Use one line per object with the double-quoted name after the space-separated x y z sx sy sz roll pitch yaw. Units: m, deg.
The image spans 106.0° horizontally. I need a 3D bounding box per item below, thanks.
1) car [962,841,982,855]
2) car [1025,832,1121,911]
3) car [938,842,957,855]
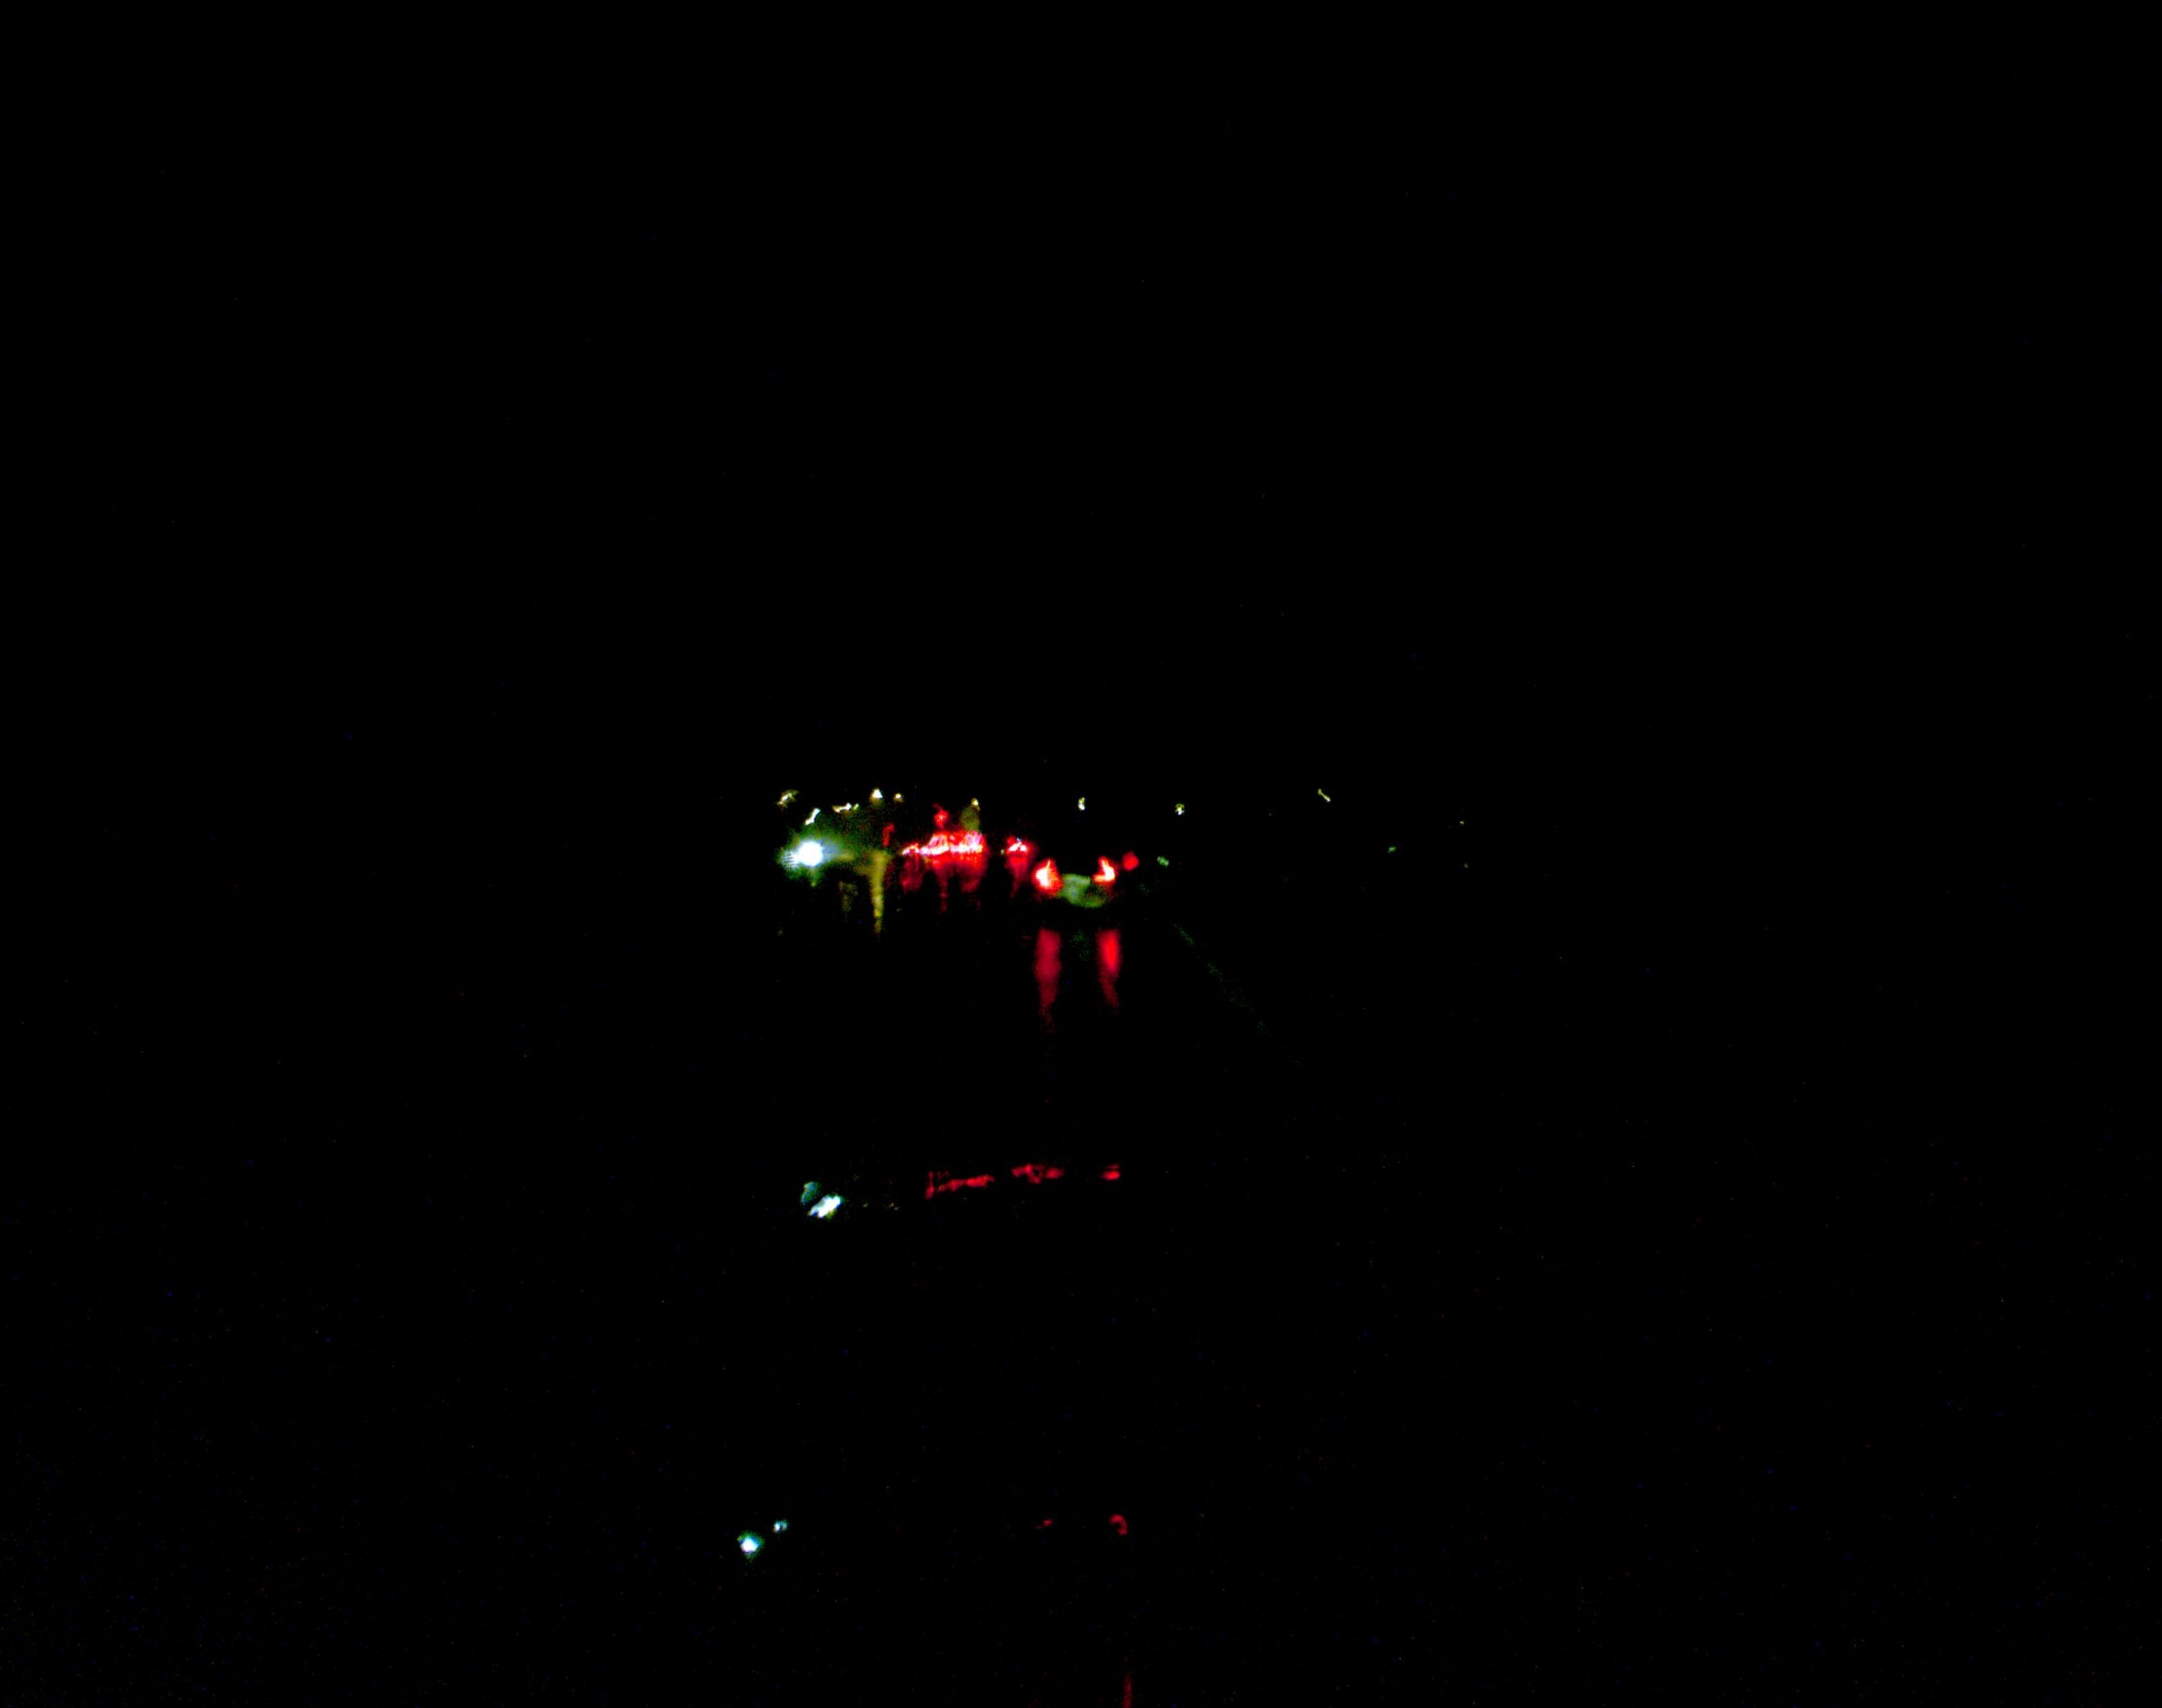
-14.865 -0.842 110.735 1.998 1.627 4.959 -4 2 -15 "car"
-0.137 0.369 19.590 1.987 1.628 4.984 -1 0 1 "car"
-18.173 -0.777 110.604 1.998 1.627 4.959 -4 2 -15 "car"
